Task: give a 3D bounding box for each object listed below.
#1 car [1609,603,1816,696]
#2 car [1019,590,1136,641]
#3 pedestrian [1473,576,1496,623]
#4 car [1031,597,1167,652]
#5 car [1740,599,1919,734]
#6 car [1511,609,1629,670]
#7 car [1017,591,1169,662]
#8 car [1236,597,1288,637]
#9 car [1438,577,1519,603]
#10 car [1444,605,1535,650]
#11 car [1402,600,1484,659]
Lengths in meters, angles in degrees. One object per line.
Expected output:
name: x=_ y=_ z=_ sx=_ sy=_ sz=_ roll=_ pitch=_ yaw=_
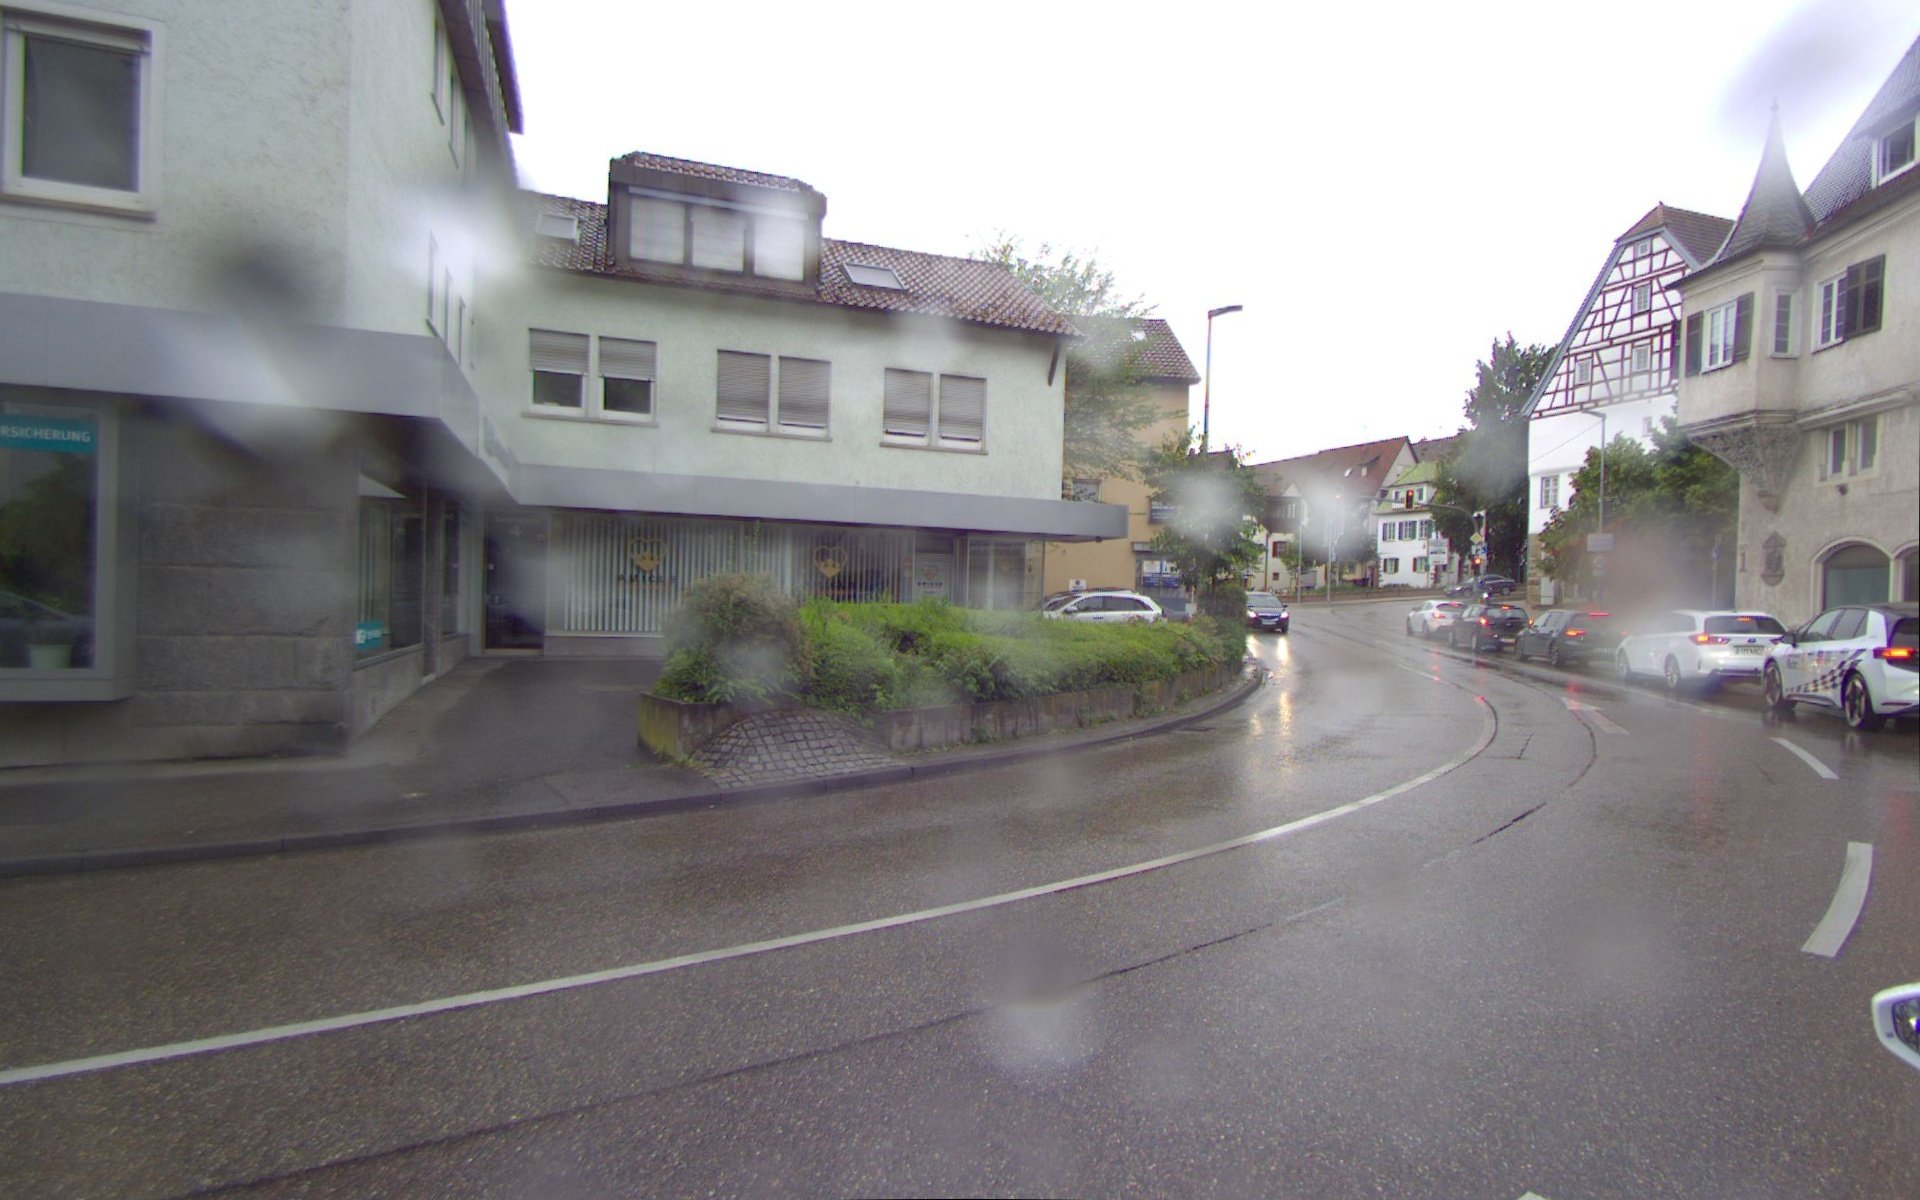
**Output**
car: x=13.964 y=0.842 z=18.952 sx=1.755 sy=1.485 sz=4.165 roll=0 pitch=1 yaw=16
car: x=3.803 y=0.493 z=32.702 sx=3.472 sy=1.597 sz=1.710 roll=0 pitch=1 yaw=-8
pedestrian: x=27.142 y=-0.026 z=52.025 sx=0.851 sy=2.357 sz=1.231 roll=1 pitch=0 yaw=18
car: x=3.865 y=0.678 z=28.307 sx=3.472 sy=1.475 sz=1.710 roll=0 pitch=1 yaw=-8
car: x=12.129 y=0.778 z=13.307 sx=1.760 sy=1.537 sz=4.239 roll=-1 pitch=-1 yaw=22
car: x=15.655 y=0.963 z=25.984 sx=1.493 sy=1.380 sz=3.769 roll=-1 pitch=1 yaw=13
car: x=3.287 y=0.627 z=25.200 sx=3.472 sy=1.708 sz=1.710 roll=0 pitch=1 yaw=-8
car: x=12.201 y=0.697 z=40.768 sx=1.702 sy=1.530 sz=4.276 roll=0 pitch=-1 yaw=13
car: x=33.521 y=-0.648 z=64.979 sx=4.446 sy=1.409 sz=1.648 roll=1 pitch=7 yaw=-8
car: x=16.987 y=0.855 z=32.395 sx=1.634 sy=1.330 sz=3.626 roll=-1 pitch=1 yaw=12
car: x=18.722 y=1.098 z=39.094 sx=1.939 sy=2.118 sz=3.963 roll=-1 pitch=1 yaw=11
